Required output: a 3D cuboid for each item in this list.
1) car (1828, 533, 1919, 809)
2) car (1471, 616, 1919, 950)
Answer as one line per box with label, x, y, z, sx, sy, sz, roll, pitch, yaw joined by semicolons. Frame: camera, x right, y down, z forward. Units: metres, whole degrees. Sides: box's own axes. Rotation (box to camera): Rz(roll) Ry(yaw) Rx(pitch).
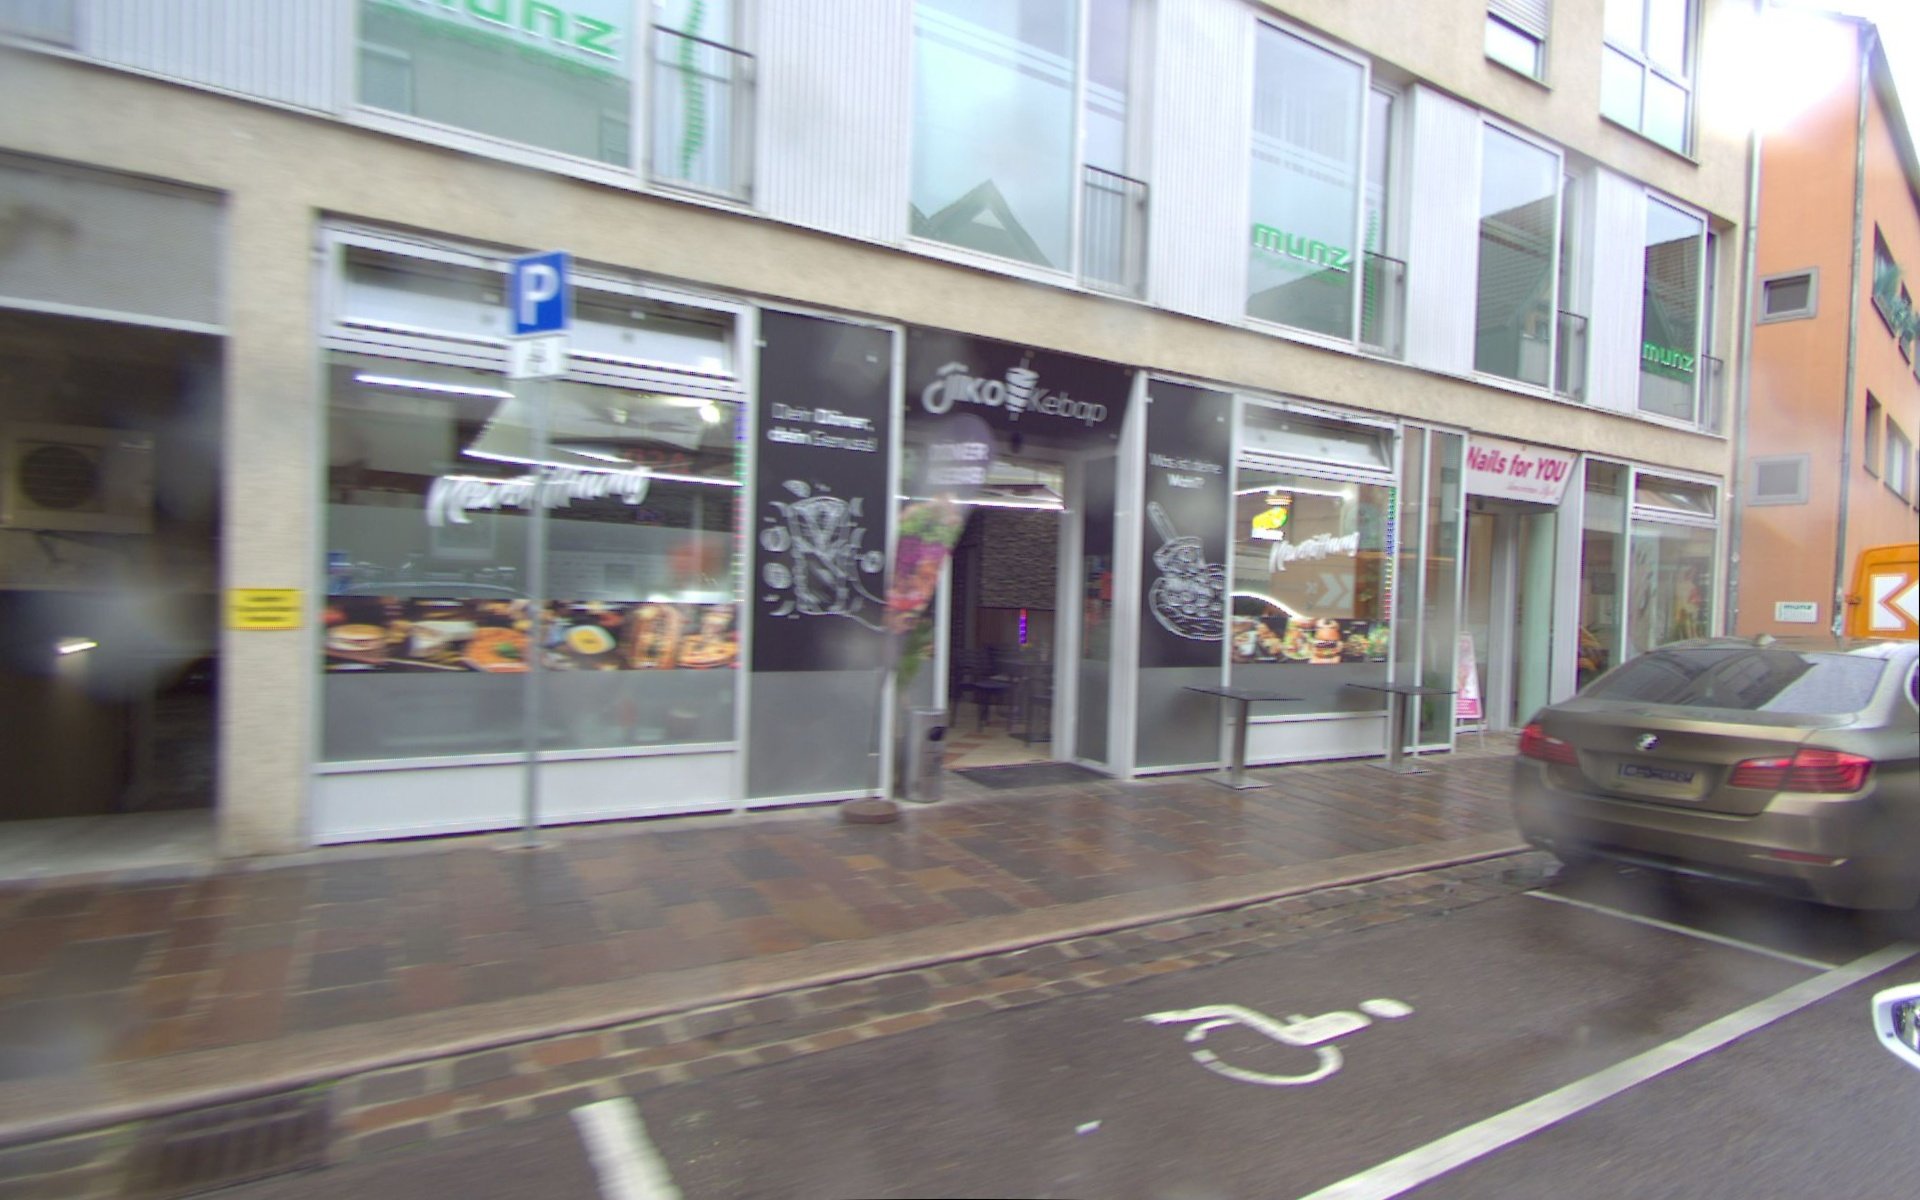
car;10.497;0.667;9.575;5.803;2.269;1.980;2;0;-35
car;5.291;0.860;6.094;4.428;1.374;1.748;2;-1;-30
